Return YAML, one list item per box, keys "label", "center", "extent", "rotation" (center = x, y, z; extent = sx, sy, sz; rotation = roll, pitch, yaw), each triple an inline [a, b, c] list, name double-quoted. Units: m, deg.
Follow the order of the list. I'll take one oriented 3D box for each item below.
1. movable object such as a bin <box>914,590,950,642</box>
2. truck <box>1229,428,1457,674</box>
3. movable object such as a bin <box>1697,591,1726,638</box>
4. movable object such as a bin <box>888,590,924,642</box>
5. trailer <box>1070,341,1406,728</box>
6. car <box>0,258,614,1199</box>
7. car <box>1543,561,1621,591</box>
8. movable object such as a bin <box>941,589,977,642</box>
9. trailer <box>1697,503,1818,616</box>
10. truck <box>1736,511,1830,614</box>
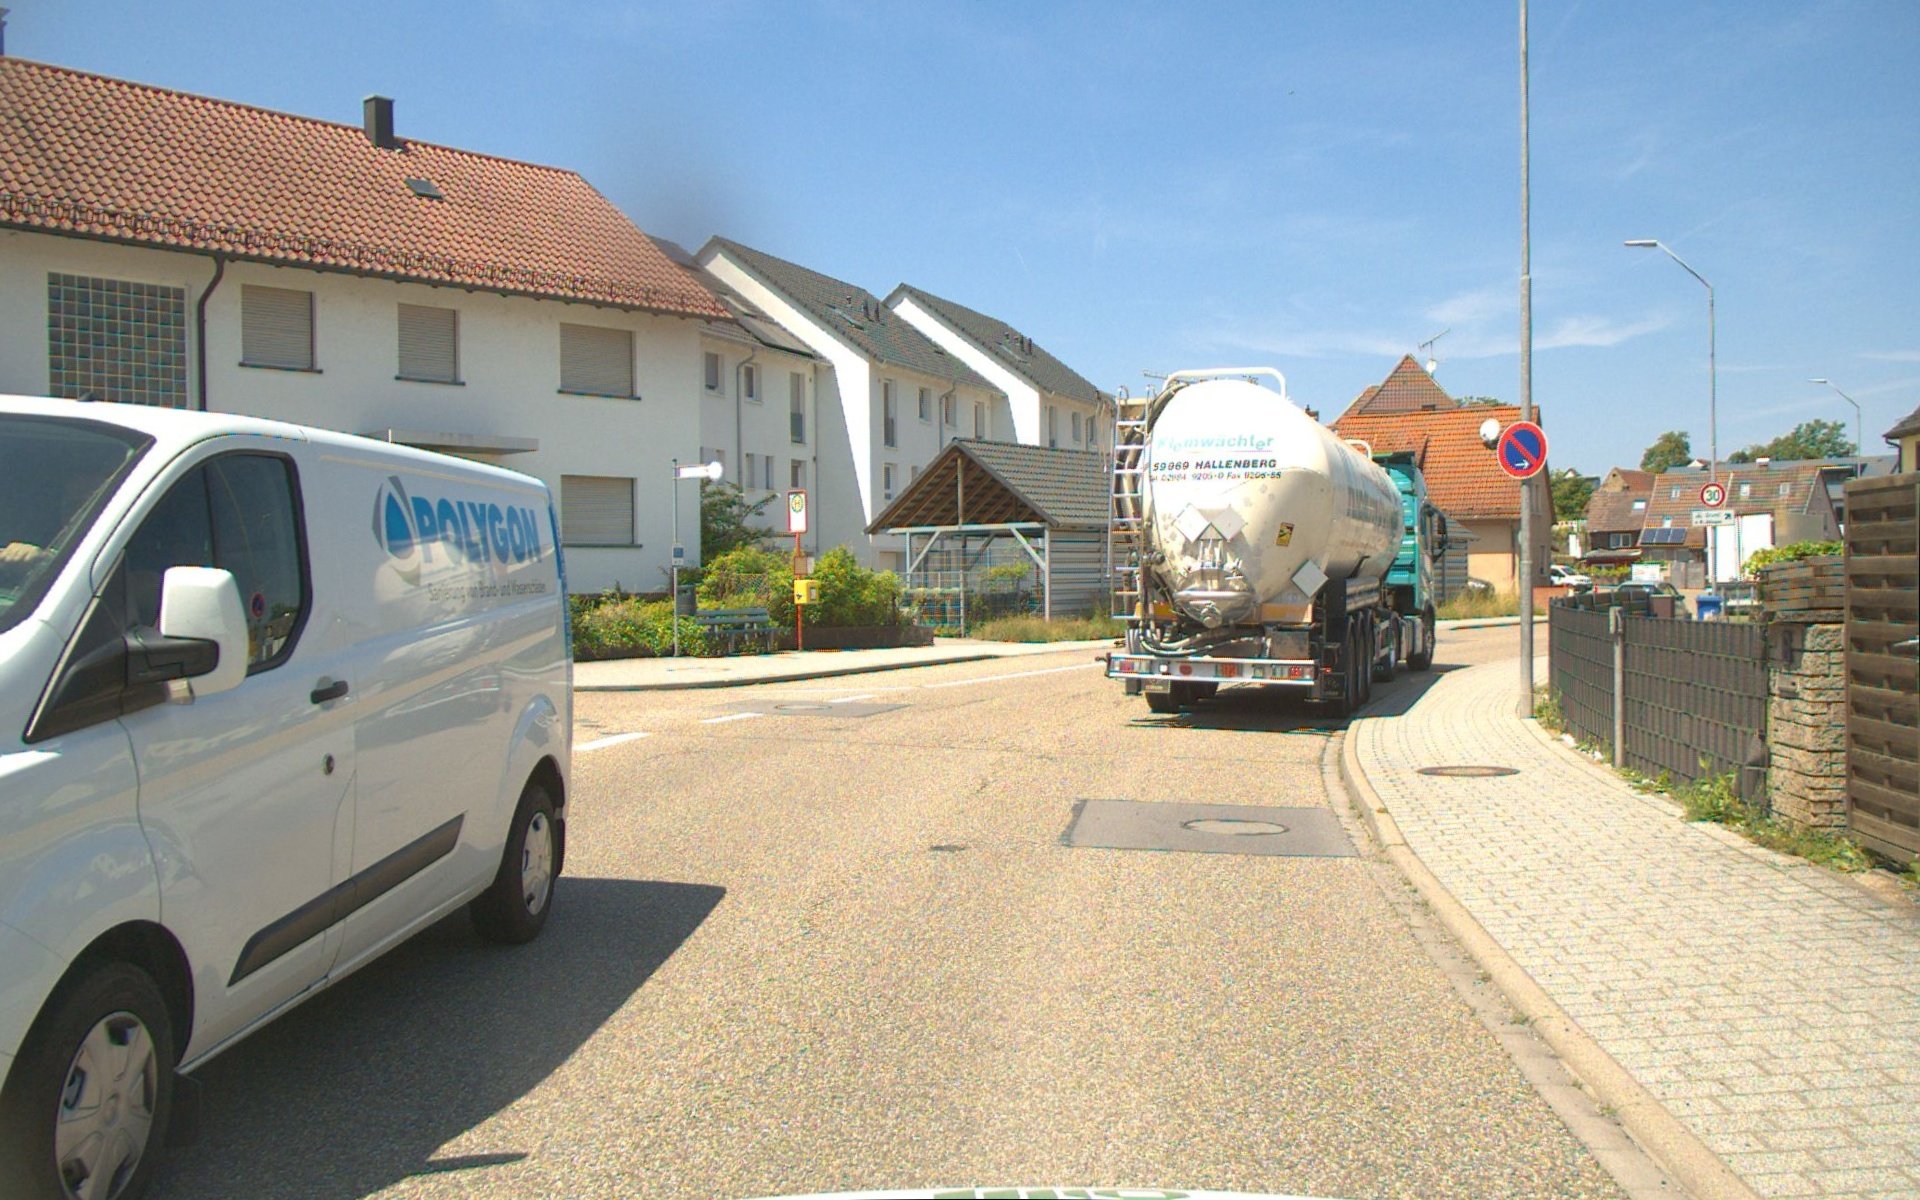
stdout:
- label: "movable object such as a bin"
  center: [-0.707, 0.391, 41.957]
  extent: [0.629, 1.301, 0.692]
  rotation: [0, 0, 35]
- label: "truck"
  center: [7.134, -0.785, 30.250]
  extent: [2.929, 4.034, 5.574]
  rotation: [-1, 0, 25]
- label: "movable object such as a bin"
  center: [17.478, 0.329, 38.481]
  extent: [0.553, 1.076, 0.651]
  rotation: [-1, 0, 20]
- label: "movable object such as a bin"
  center: [-1.378, 0.397, 42.380]
  extent: [0.629, 1.301, 0.692]
  rotation: [0, 0, 35]
- label: "trailer"
  center: [4.407, -0.725, 23.137]
  extent: [2.891, 4.017, 11.624]
  rotation: [0, 0, 18]
- label: "car"
  center: [-2.713, 0.337, 5.203]
  extent: [1.952, 2.034, 5.216]
  rotation: [1, 1, 2]
- label: "car"
  center: [39.469, -1.525, 105.072]
  extent: [1.856, 1.816, 4.471]
  rotation: [-2, 2, -32]
- label: "movable object such as a bin"
  center: [-0.033, 0.384, 41.475]
  extent: [0.629, 1.301, 0.692]
  rotation: [0, 0, 35]
- label: "trailer"
  center: [33.775, -1.588, 69.704]
  extent: [3.076, 4.352, 12.459]
  rotation: [0, 0, 33]
- label: "truck"
  center: [37.601, -1.652, 75.467]
  extent: [3.051, 4.478, 5.916]
  rotation: [0, 0, 34]
